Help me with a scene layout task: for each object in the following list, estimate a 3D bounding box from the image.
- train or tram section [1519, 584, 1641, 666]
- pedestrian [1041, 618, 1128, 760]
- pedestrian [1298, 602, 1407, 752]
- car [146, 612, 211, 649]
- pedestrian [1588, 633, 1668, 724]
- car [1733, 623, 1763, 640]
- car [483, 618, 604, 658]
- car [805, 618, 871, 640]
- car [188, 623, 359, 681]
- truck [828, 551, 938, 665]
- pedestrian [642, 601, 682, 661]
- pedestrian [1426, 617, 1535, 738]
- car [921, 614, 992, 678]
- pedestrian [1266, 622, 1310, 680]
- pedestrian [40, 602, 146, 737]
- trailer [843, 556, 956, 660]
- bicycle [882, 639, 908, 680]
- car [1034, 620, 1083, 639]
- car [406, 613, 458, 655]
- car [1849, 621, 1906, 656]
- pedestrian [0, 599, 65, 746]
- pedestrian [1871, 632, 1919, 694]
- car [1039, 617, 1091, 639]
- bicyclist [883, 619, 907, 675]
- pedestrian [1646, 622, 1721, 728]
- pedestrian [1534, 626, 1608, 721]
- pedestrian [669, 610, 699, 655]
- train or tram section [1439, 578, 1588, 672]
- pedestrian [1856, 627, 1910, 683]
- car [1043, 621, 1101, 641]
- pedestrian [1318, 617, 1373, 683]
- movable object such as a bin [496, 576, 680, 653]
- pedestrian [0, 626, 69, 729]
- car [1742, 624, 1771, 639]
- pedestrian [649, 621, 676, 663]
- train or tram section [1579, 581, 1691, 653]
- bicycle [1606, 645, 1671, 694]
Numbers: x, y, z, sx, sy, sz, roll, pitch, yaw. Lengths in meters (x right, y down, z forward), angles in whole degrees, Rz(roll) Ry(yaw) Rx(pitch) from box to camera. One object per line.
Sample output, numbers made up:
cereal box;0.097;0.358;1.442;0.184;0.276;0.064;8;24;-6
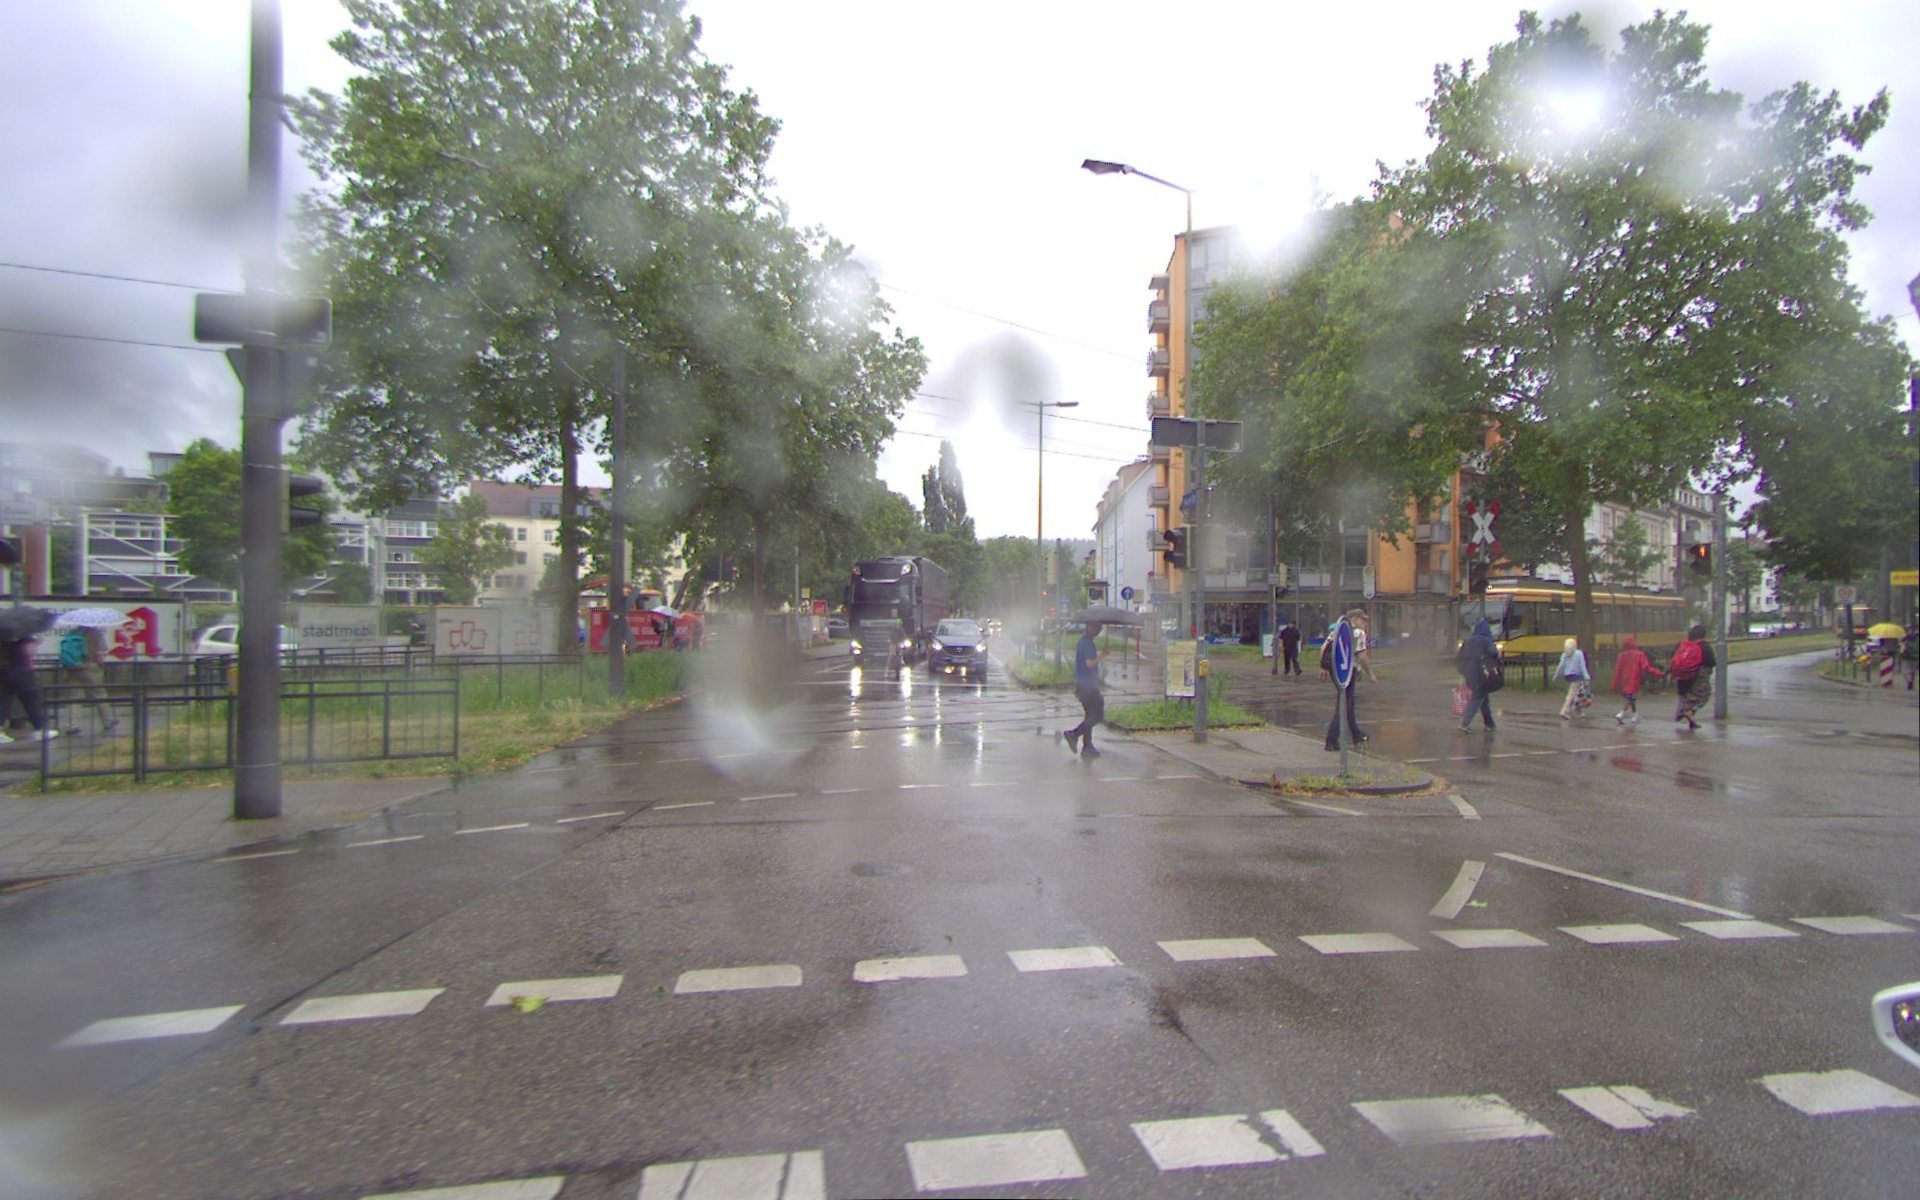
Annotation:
train or tram section;28.305;1.120;45.639;8.316;3.396;2.613;1;-1;-43
pedestrian;1.460;1.022;11.847;0.848;1.602;0.641;0;0;-13
pedestrian;4.933;0.936;12.655;0.980;1.805;0.808;0;0;-21
car;-39.066;1.495;50.320;1.977;1.760;4.549;1;-1;-30
pedestrian;10.835;1.254;16.291;0.997;1.400;0.669;0;0;-27
car;75.886;2.989;96.688;1.972;1.553;3.977;0;-1;43
car;-15.004;1.343;36.248;3.591;1.339;1.845;1;-1;11
car;-8.800;2.102;72.558;4.284;1.413;1.999;2;-2;-27
car;-17.889;1.311;26.200;3.592;1.339;1.844;1;-1;17
truck;-2.906;0.327;40.170;3.392;4.133;6.977;1;-1;4
pedestrian;-10.019;1.034;33.814;0.894;1.990;1.215;0;-1;4
pedestrian;7.722;1.113;14.950;1.038;1.709;0.994;0;0;-13
car;-0.180;1.416;32.517;2.040;1.704;4.928;3;0;-2
pedestrian;10.502;1.615;32.203;1.018;1.812;1.237;0;-1;0
pedestrian;-12.624;0.978;14.663;0.942;1.887;0.844;0;0;-24
trailer;-2.423;0.405;47.156;3.384;4.103;15.057;0;-1;4
bicycle;-1.766;1.596;27.277;0.524;1.038;1.871;0;-1;-9
car;8.486;2.565;87.122;4.119;1.589;1.889;0;-1;2
car;-25.243;1.594;48.136;1.973;1.816;3.975;0;0;-25
car;47.634;1.960;52.131;3.973;1.695;1.974;1;-1;-44
pedestrian;-12.634;0.940;13.298;0.942;1.887;0.844;0;0;-24
pedestrian;24.523;1.623;26.262;0.778;1.580;0.982;1;-1;-43
car;8.848;2.342;84.543;4.162;1.829;1.945;-1;-1;0
bicyclist;-1.770;1.267;27.239;0.571;1.480;1.009;0;-1;-9
pedestrian;11.189;1.133;15.533;0.752;1.568;0.687;0;0;-30
pedestrian;10.512;1.228;17.283;1.058;1.546;0.867;0;-1;-45
pedestrian;-10.566;1.227;38.429;0.901;1.671;0.744;0;-1;-42
train or tram section;22.196;0.979;40.020;8.313;3.414;2.614;1;-1;-42
pedestrian;31.037;1.830;33.800;1.145;1.812;0.893;0;0;29
car;8.680;2.416;78.090;4.456;1.489;1.984;0;-1;4
pedestrian;11.375;1.452;29.700;1.151;1.890;1.386;1;0;4
movable object such as a bin;-15.196;0.547;41.125;6.641;2.969;2.776;0;0;14
pedestrian;-14.451;1.173;15.494;0.817;1.524;0.844;0;0;-24
car;79.946;3.113;100.769;1.972;1.416;3.977;0;-1;43
pedestrian;-11.155;1.562;37.648;0.631;1.535;0.771;-1;-1;26
train or tram section;34.969;0.910;51.828;9.915;3.396;2.613;1;-1;-43
bicycle;15.861;1.609;23.481;1.595;1.091;0.444;1;-1;-22
